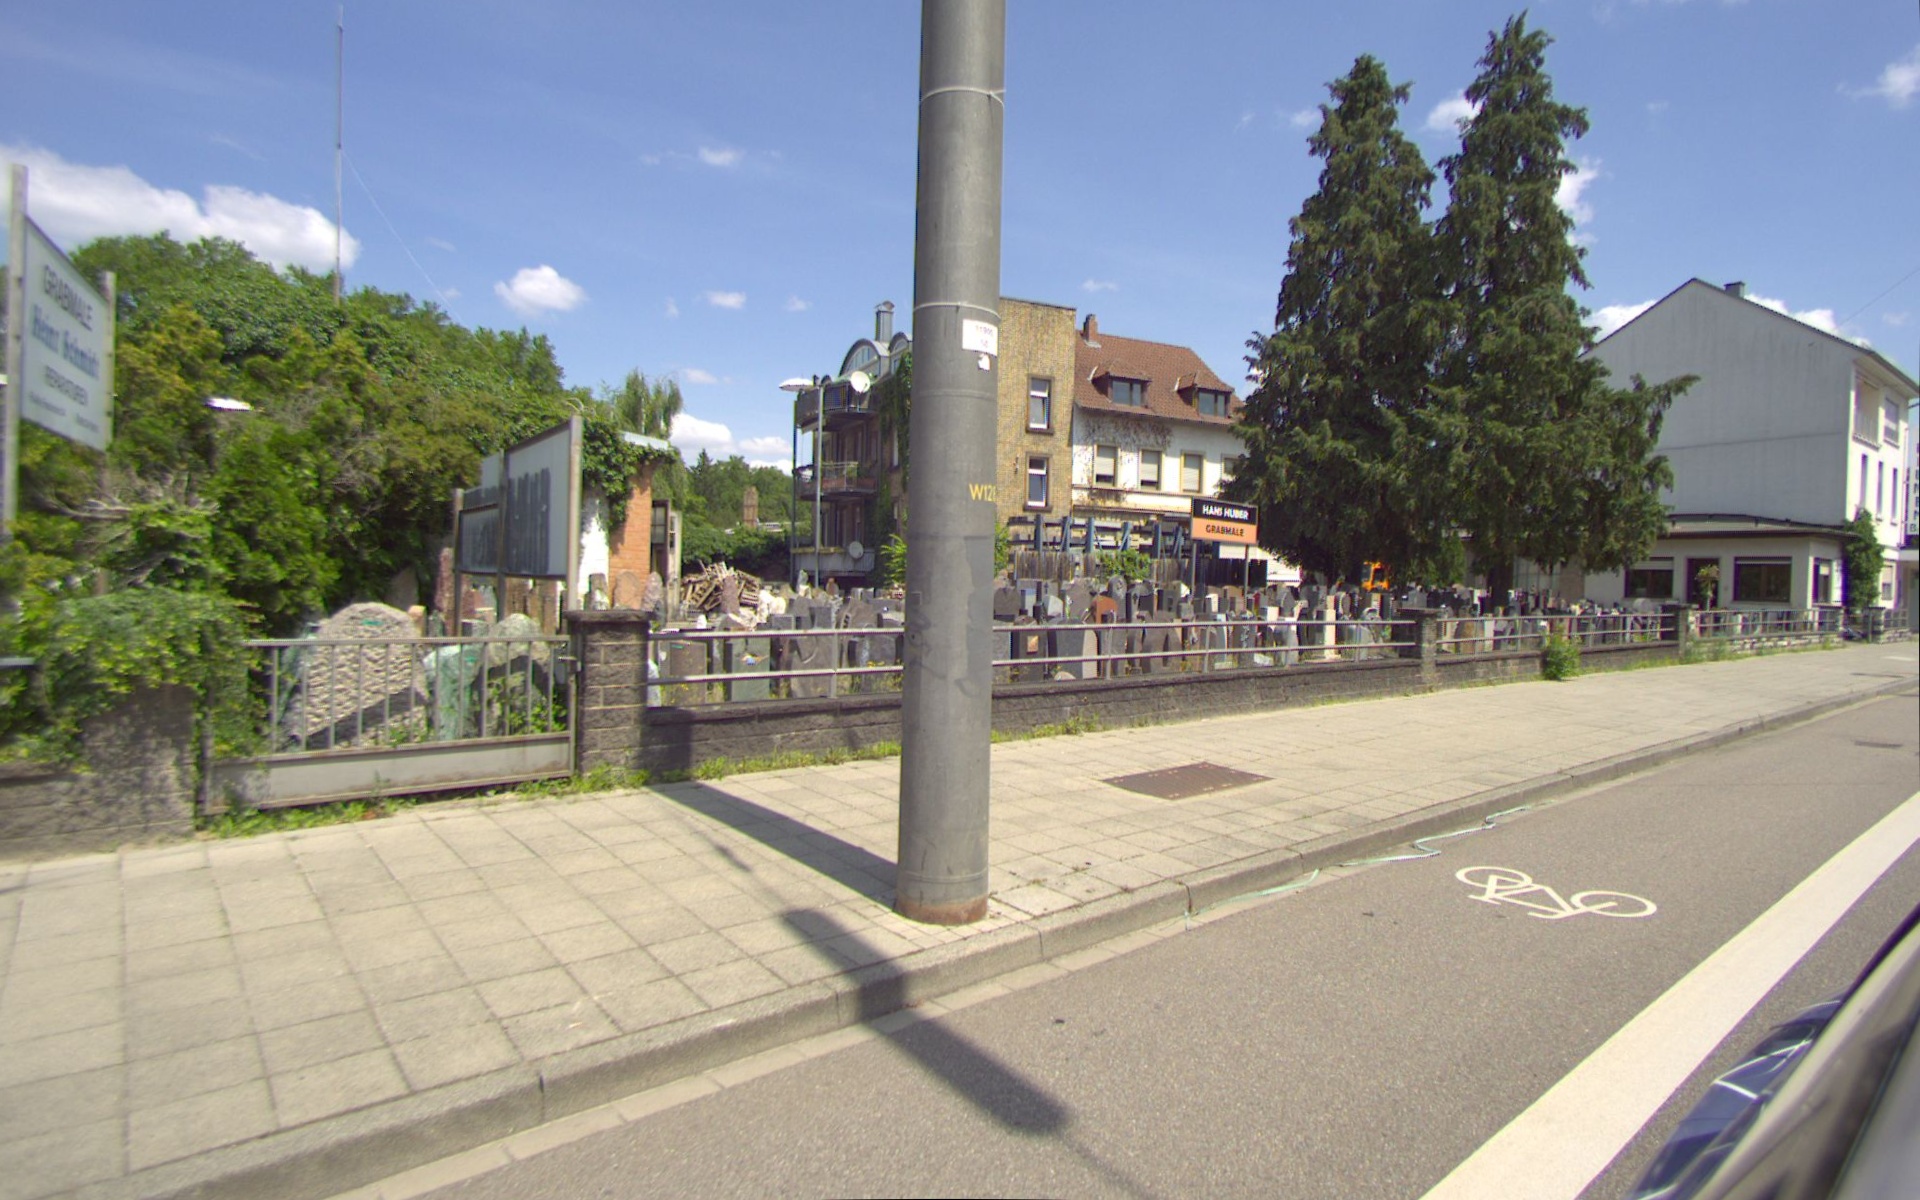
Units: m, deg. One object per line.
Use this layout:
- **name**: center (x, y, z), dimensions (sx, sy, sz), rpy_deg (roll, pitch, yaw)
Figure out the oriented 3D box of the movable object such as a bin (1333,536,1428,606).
- **movable object such as a bin**: center (16.919, -1.176, 40.706), dimensions (3.738, 2.650, 1.746), rpy_deg (0, 4, -37)
